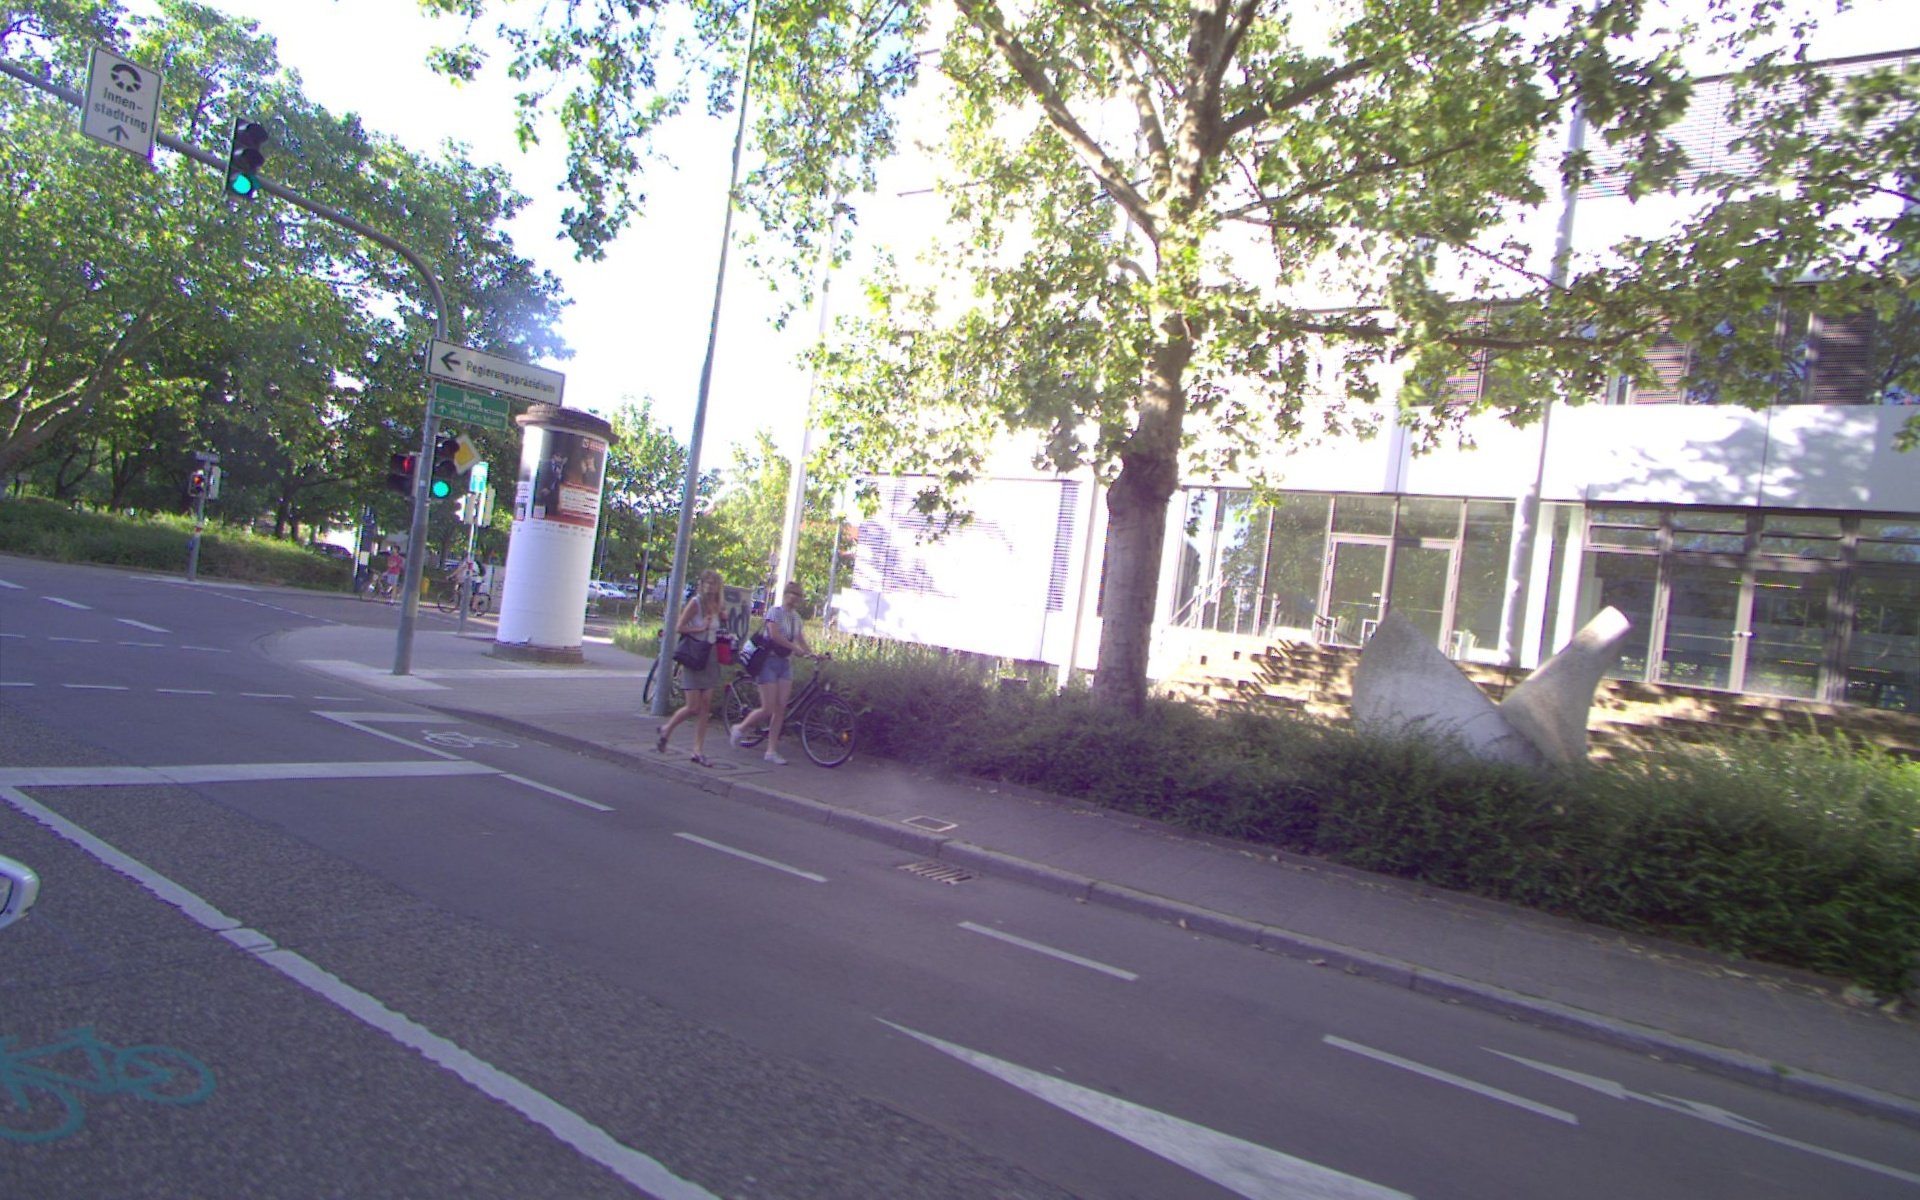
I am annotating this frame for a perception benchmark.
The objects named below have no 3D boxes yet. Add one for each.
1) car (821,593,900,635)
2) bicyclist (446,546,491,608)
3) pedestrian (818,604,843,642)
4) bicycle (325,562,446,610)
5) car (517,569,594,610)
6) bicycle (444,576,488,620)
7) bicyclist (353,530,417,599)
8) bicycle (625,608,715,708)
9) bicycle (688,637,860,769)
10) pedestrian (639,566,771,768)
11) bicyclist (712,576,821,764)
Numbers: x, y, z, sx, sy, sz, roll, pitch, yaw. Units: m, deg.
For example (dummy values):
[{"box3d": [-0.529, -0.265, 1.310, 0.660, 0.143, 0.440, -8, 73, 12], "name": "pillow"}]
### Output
[{"box3d": [-6.476, 0.911, 65.488, 4.485, 2.138, 2.000, 7, -2, 25], "name": "car"}, {"box3d": [-13.884, -0.655, 28.401, 0.942, 1.565, 1.118, 8, 1, -27], "name": "bicyclist"}, {"box3d": [-6.753, 1.196, 52.531, 0.655, 1.876, 1.026, 7, -1, 20], "name": "pedestrian"}, {"box3d": [-17.053, -0.395, 29.979, 0.926, 1.050, 3.004, 7, -2, 28], "name": "bicycle"}, {"box3d": [-23.524, -0.605, 58.469, 3.933, 1.800, 1.998, 6, -2, 31], "name": "car"}, {"box3d": [-14.063, -0.078, 28.607, 0.971, 1.064, 2.642, 7, -1, -28], "name": "bicycle"}, {"box3d": [-17.037, -1.045, 29.830, 0.961, 1.829, 1.131, 7, -1, 29], "name": "bicyclist"}, {"box3d": [-3.869, 0.763, 13.593, 0.462, 1.196, 1.994, 7, -1, 2], "name": "bicycle"}, {"box3d": [-1.860, 0.995, 9.966, 1.619, 1.047, 0.522, 6, -1, 31], "name": "bicycle"}, {"box3d": [-2.341, 0.609, 9.283, 0.680, 1.739, 0.775, 5, -1, 30], "name": "pedestrian"}, {"box3d": [-1.892, 0.680, 9.880, 0.644, 1.734, 0.633, 5, -1, 30], "name": "bicyclist"}]
